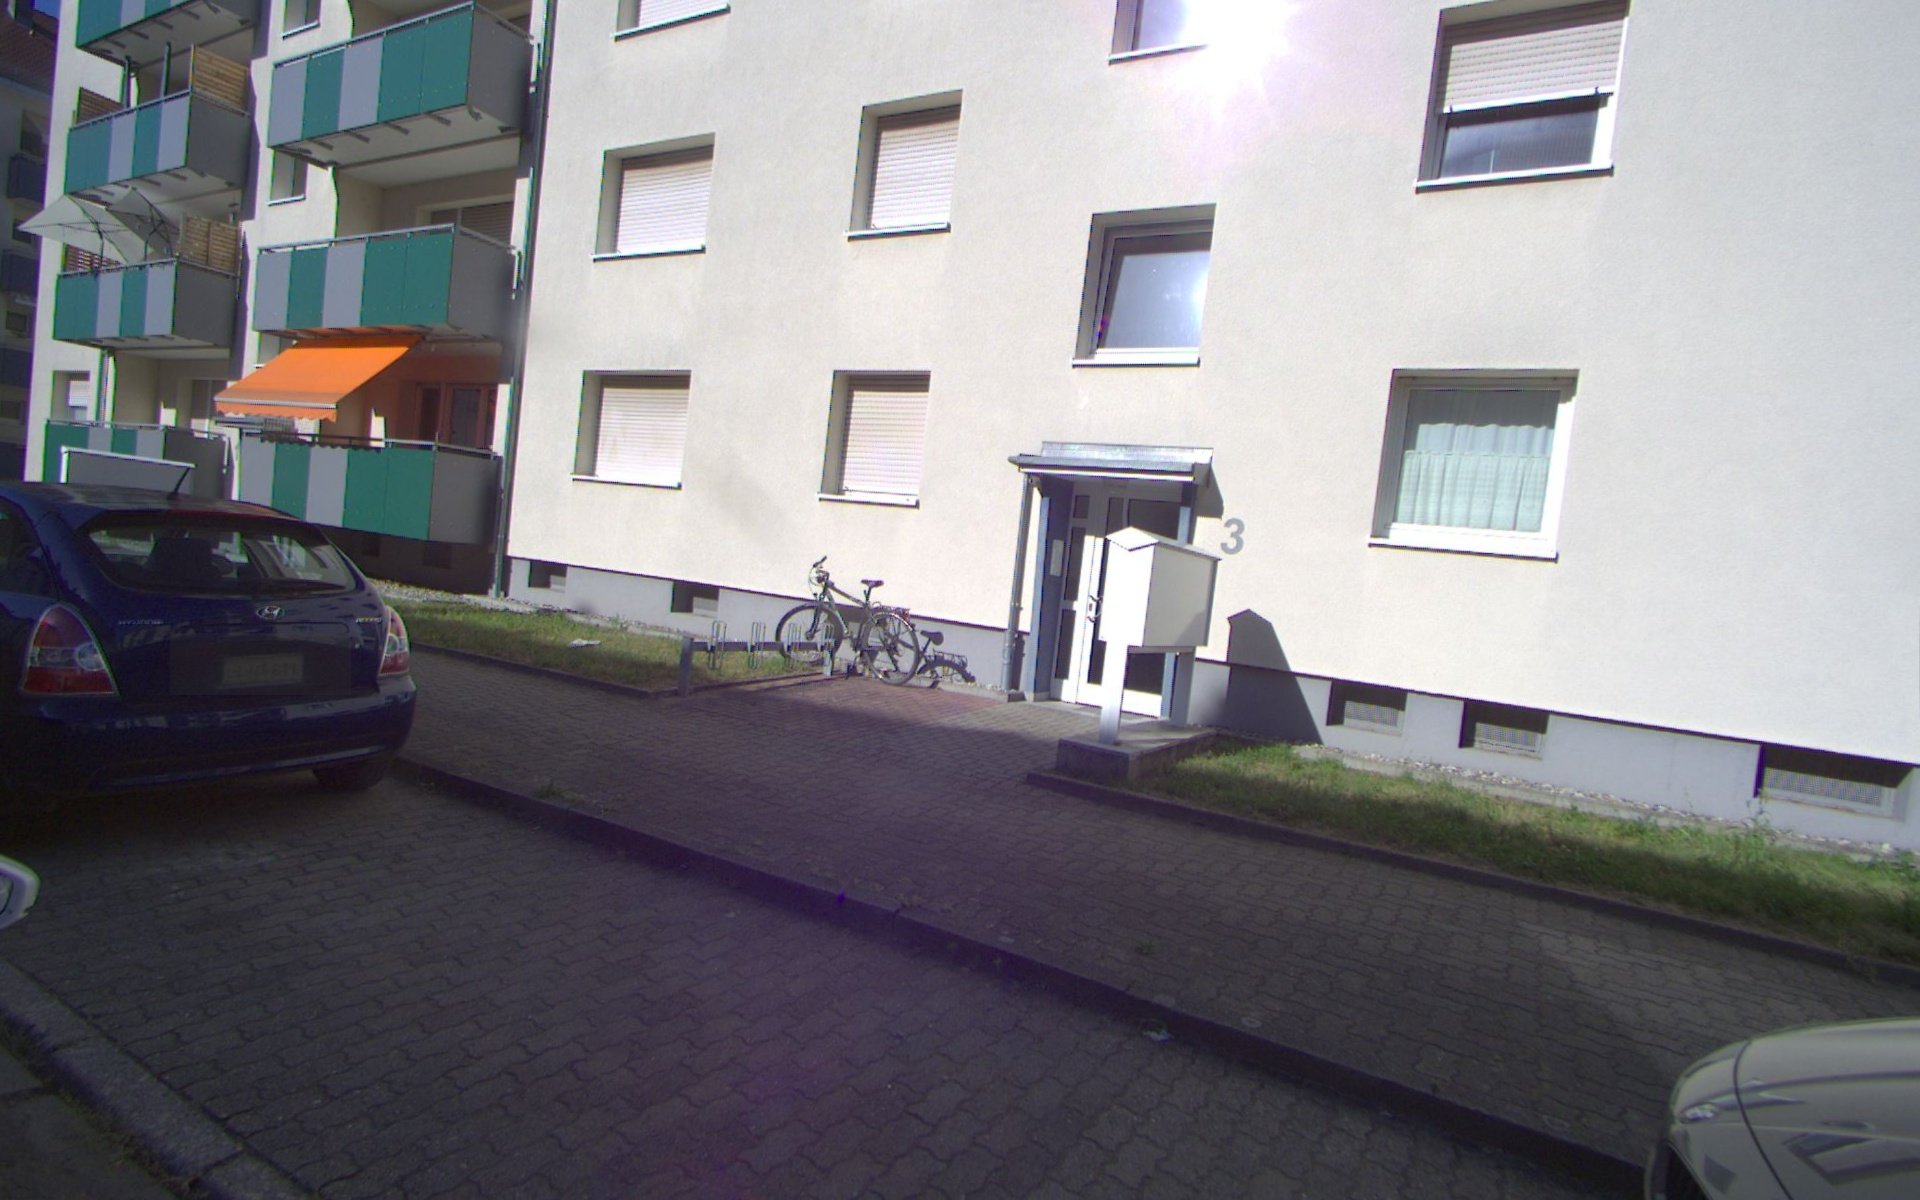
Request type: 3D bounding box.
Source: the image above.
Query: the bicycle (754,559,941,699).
[{"bbox_3d":[-1.120,0.240,9.829,1.703,1.084,0.649,9,8,30],"label":"bicycle"}]

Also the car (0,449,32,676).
[{"bbox_3d":[-8.843,-0.491,7.392,3.942,1.609,1.683,7,3,27],"label":"car"}]

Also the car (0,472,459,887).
[{"bbox_3d":[-4.845,0.086,5.333,4.281,1.451,1.738,7,4,28],"label":"car"}]

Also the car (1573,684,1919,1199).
[{"bbox_3d":[2.995,1.129,0.781,4.169,1.382,1.684,8,4,32],"label":"car"}]
